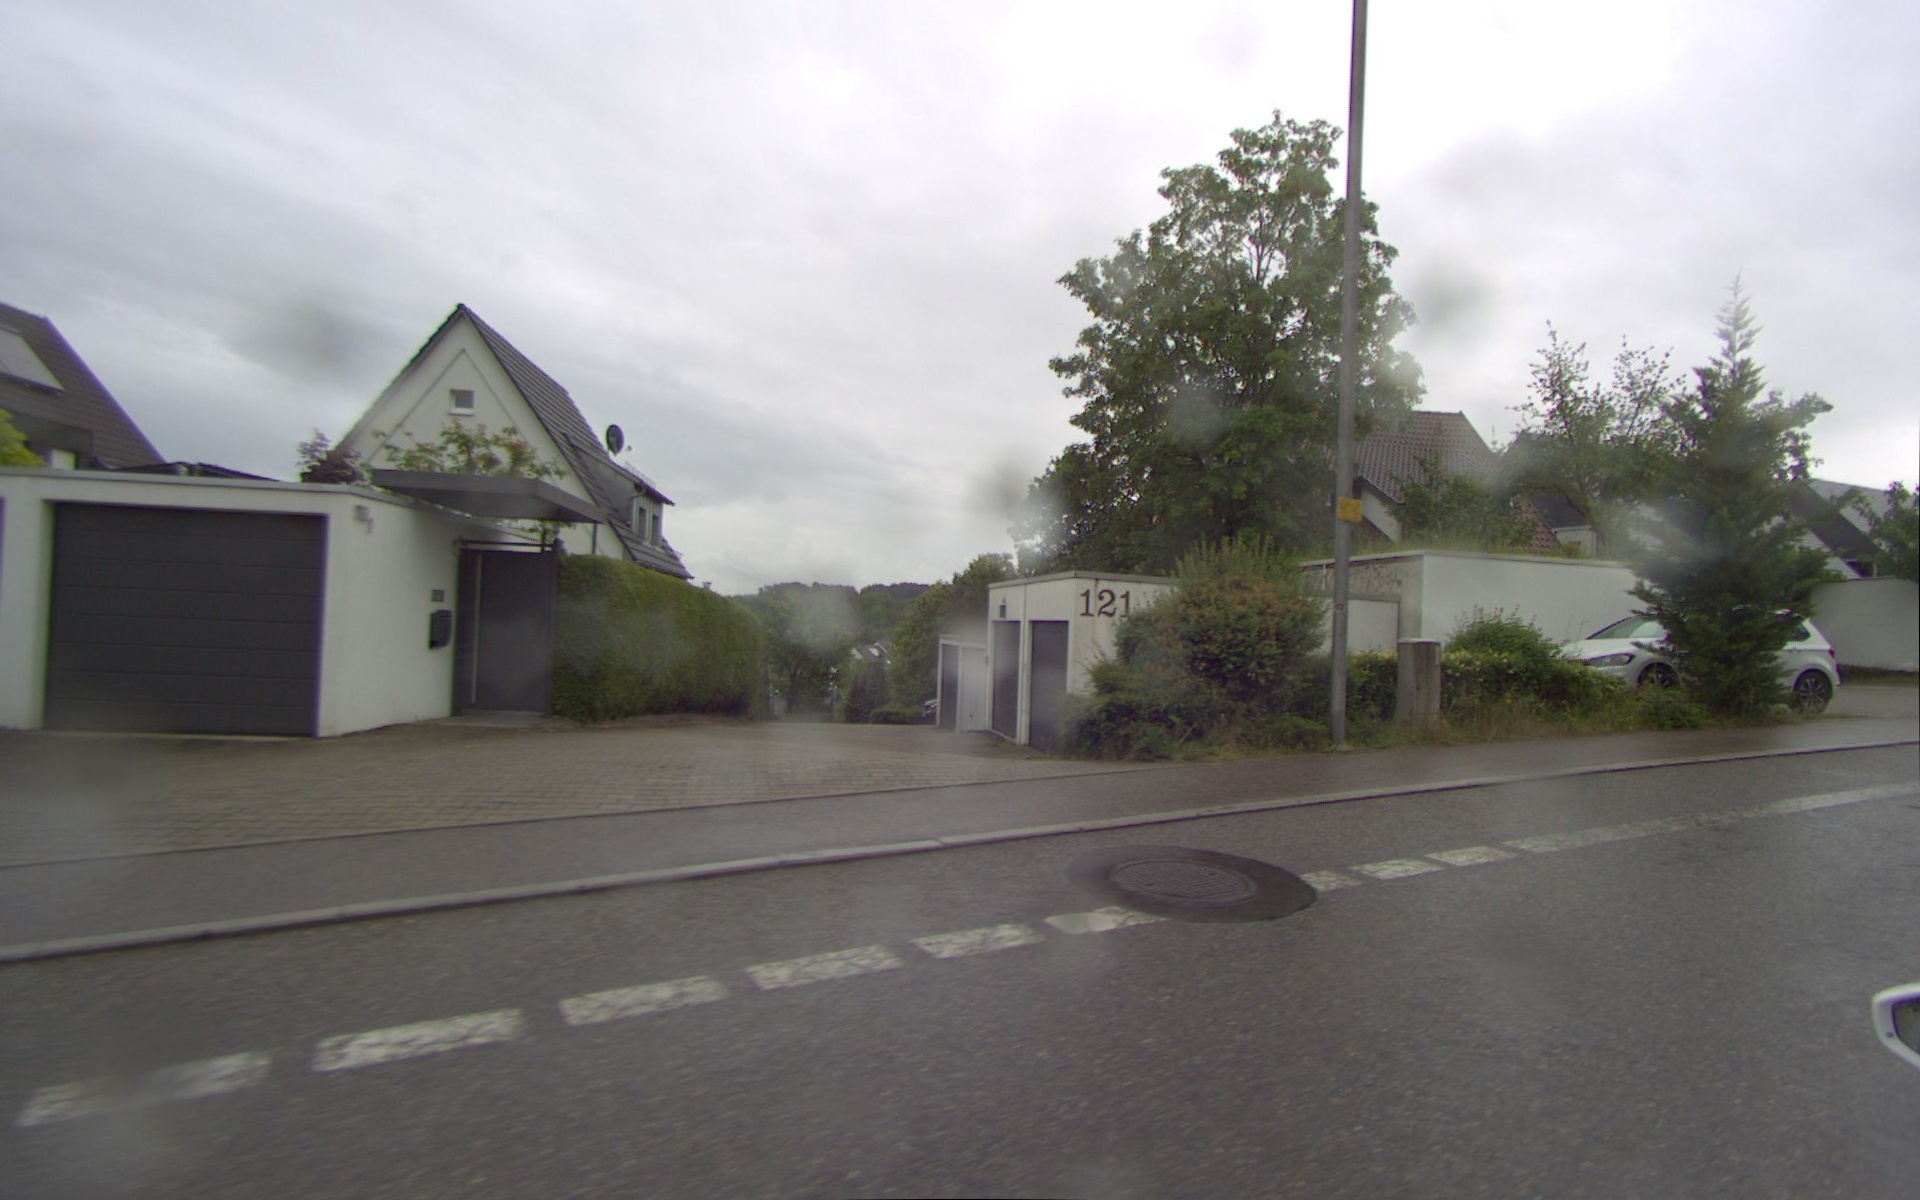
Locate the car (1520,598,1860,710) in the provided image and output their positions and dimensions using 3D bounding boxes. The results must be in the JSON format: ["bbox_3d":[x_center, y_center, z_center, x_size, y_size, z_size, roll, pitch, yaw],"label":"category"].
[{"bbox_3d":[11.074,0.796,15.343,4.311,1.574,1.707,1,0,-11],"label":"car"}]

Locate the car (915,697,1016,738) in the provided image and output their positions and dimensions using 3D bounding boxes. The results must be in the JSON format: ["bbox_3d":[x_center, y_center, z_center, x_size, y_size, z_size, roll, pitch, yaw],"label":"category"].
[{"bbox_3d":[0.191,4.279,36.781,3.369,1.280,1.601,1,0,-18],"label":"car"}]
